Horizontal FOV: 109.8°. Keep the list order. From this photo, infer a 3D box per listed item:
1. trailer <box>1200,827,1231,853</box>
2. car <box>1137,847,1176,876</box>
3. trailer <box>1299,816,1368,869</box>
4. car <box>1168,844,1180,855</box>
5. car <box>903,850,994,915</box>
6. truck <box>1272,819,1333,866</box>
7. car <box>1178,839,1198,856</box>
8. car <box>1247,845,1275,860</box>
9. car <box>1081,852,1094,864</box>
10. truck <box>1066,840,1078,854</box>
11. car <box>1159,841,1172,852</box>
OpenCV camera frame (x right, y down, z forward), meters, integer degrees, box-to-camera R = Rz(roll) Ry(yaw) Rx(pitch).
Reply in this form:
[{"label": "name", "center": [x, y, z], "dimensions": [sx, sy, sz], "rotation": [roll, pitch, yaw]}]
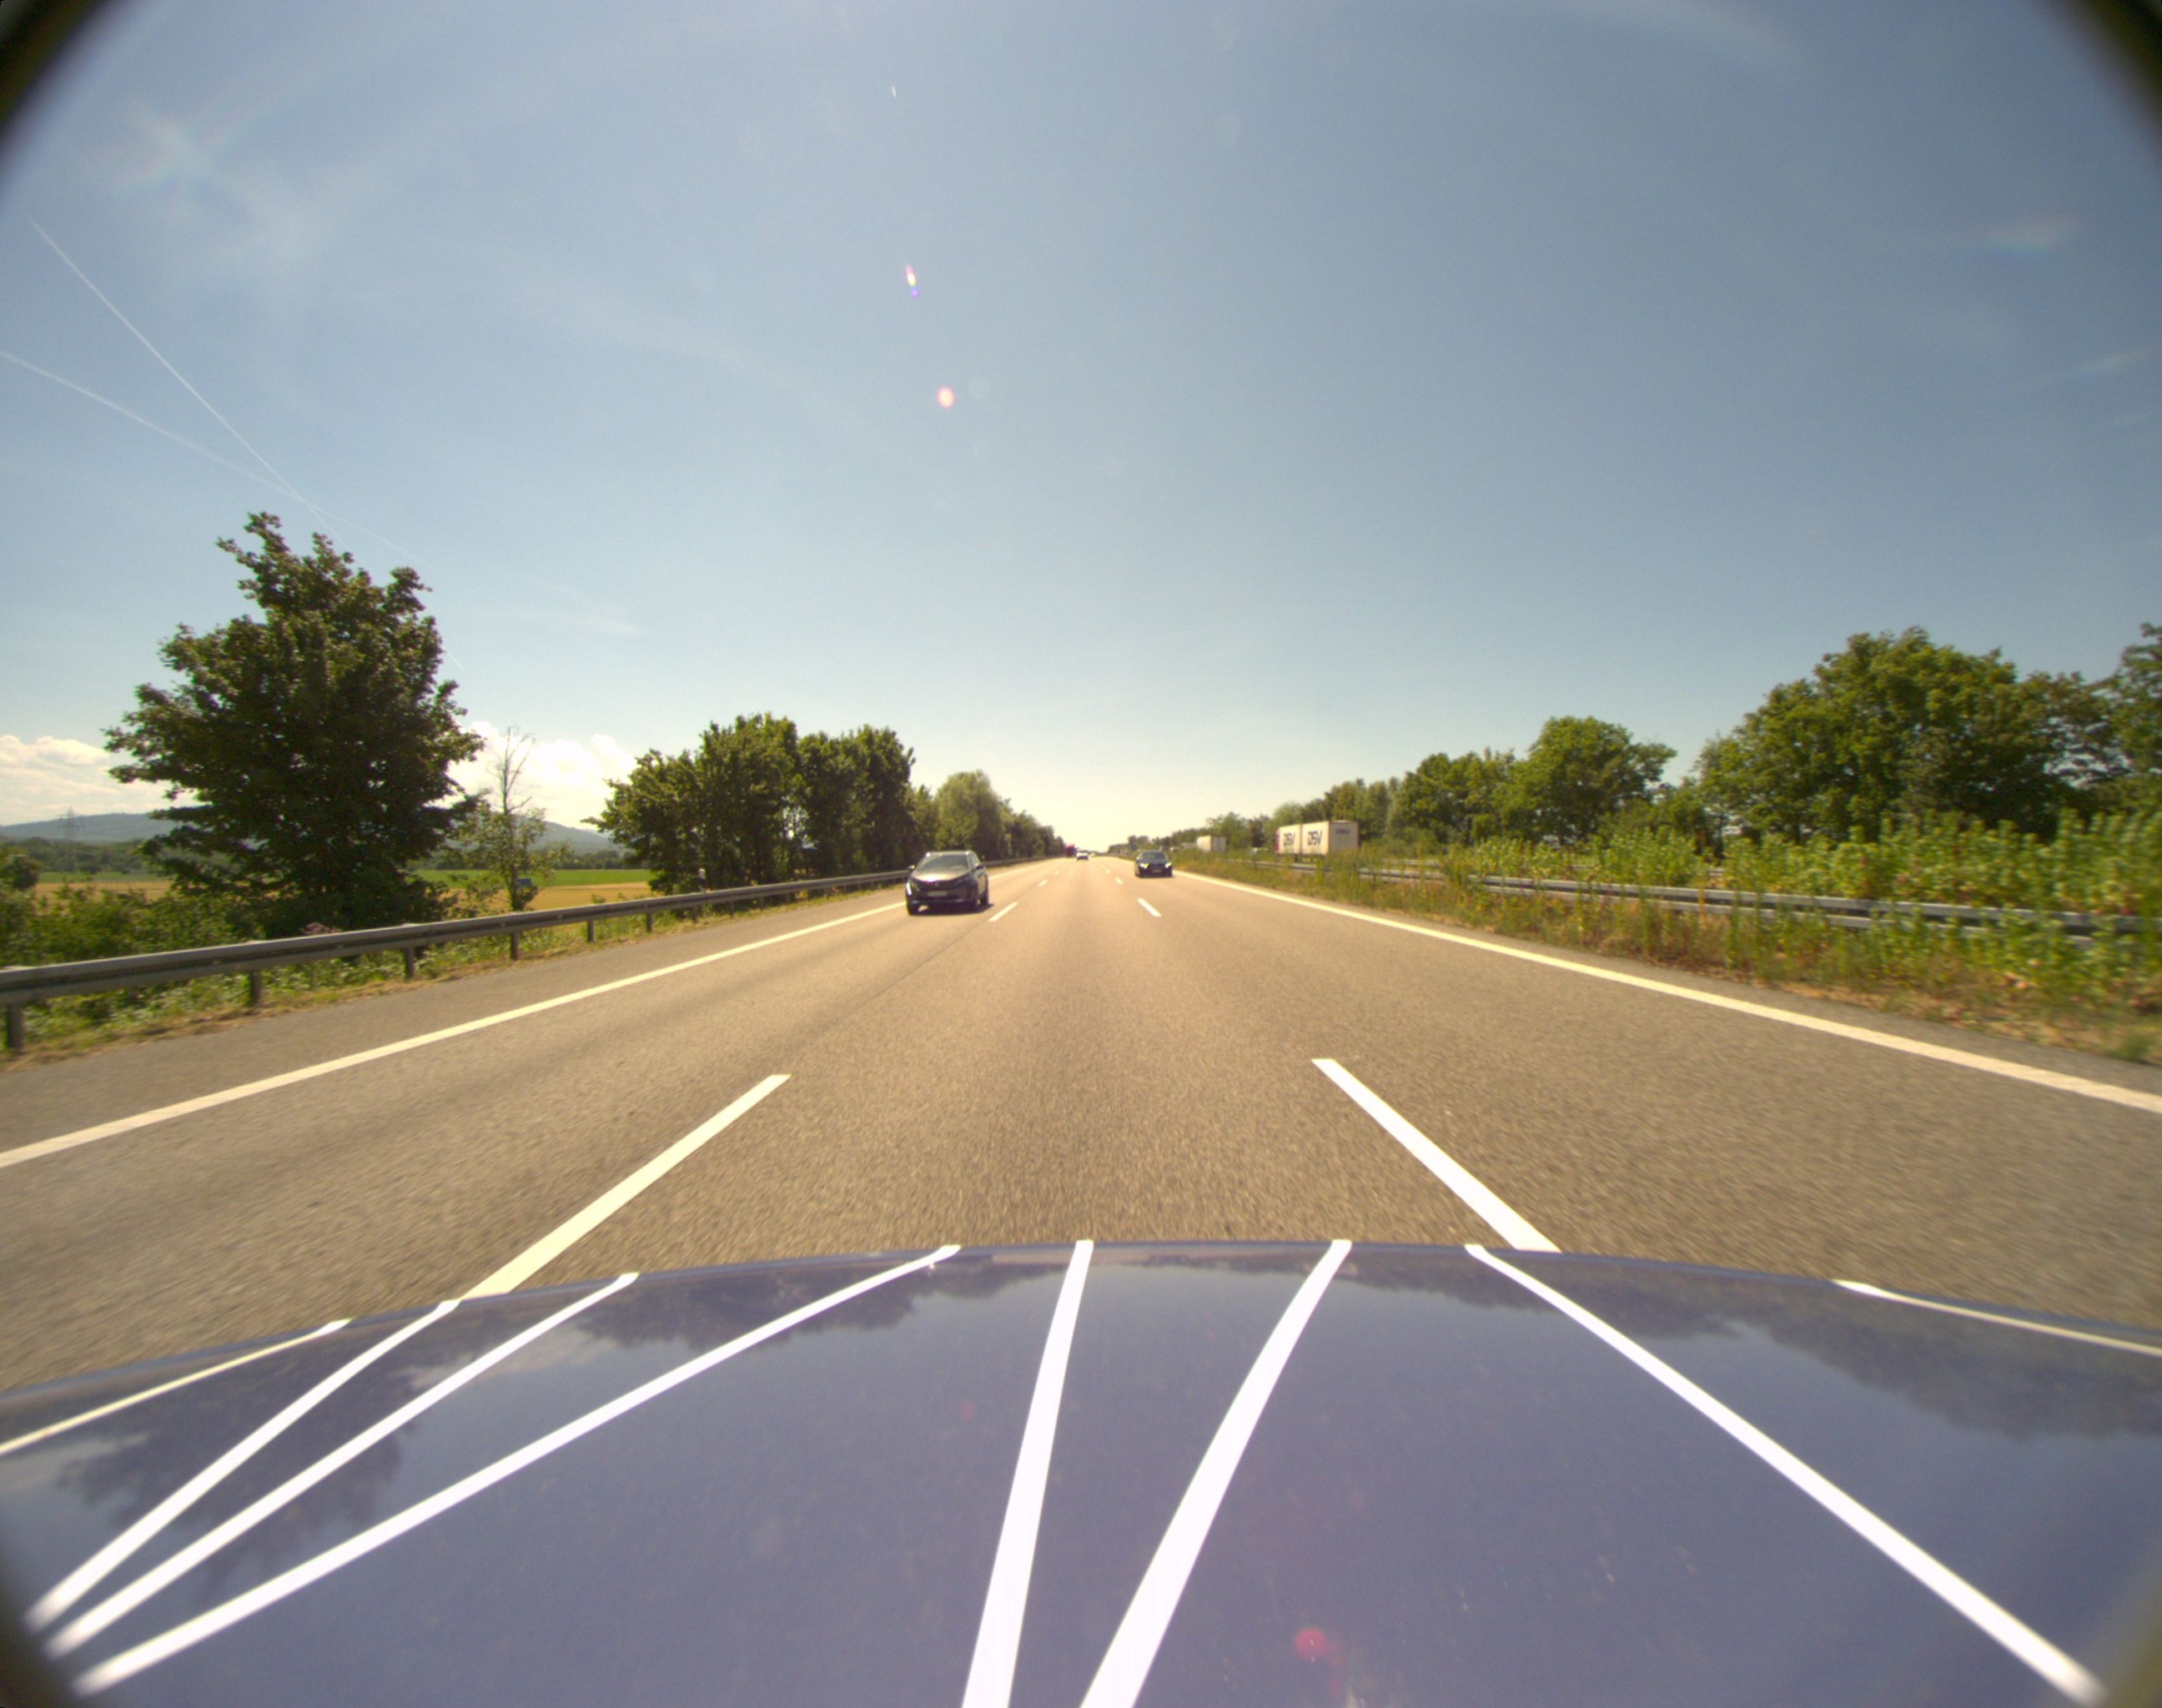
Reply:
[{"label": "trailer", "center": [22.548, -2.218, 128.266], "dimensions": [3.055, 4.015, 12.235], "rotation": [-2, 0, 0]}, {"label": "car", "center": [4.068, 0.425, 41.538], "dimensions": [1.736, 1.433, 4.000], "rotation": [-2, 0, 1]}, {"label": "trailer", "center": [22.103, -0.909, 67.206], "dimensions": [3.055, 4.300, 9.032], "rotation": [-2, 0, 0]}, {"label": "car", "center": [21.722, -1.074, 177.841], "dimensions": [2.108, 2.449, 6.015], "rotation": [0, 0, 0]}, {"label": "car", "center": [-3.599, 0.720, 21.389], "dimensions": [1.850, 1.619, 4.134], "rotation": [-1, 0, -1]}, {"label": "truck", "center": [22.252, -1.058, 76.995], "dimensions": [3.079, 4.285, 10.628], "rotation": [-2, 0, 1]}, {"label": "car", "center": [18.227, -1.161, 130.002], "dimensions": [2.334, 2.806, 6.606], "rotation": [0, 0, -1]}, {"label": "car", "center": [17.741, -0.111, 75.090], "dimensions": [1.610, 1.433, 4.043], "rotation": [-2, 0, -2]}, {"label": "car", "center": [1.105, 0.718, 130.080], "dimensions": [1.998, 2.001, 4.756], "rotation": [-2, 0, 0]}, {"label": "truck", "center": [-2.607, -1.994, 220.158], "dimensions": [2.938, 3.933, 10.261], "rotation": [-2, 0, 1]}, {"label": "car", "center": [18.614, -1.591, 167.724], "dimensions": [2.215, 2.349, 5.297], "rotation": [0, 0, -1]}]
